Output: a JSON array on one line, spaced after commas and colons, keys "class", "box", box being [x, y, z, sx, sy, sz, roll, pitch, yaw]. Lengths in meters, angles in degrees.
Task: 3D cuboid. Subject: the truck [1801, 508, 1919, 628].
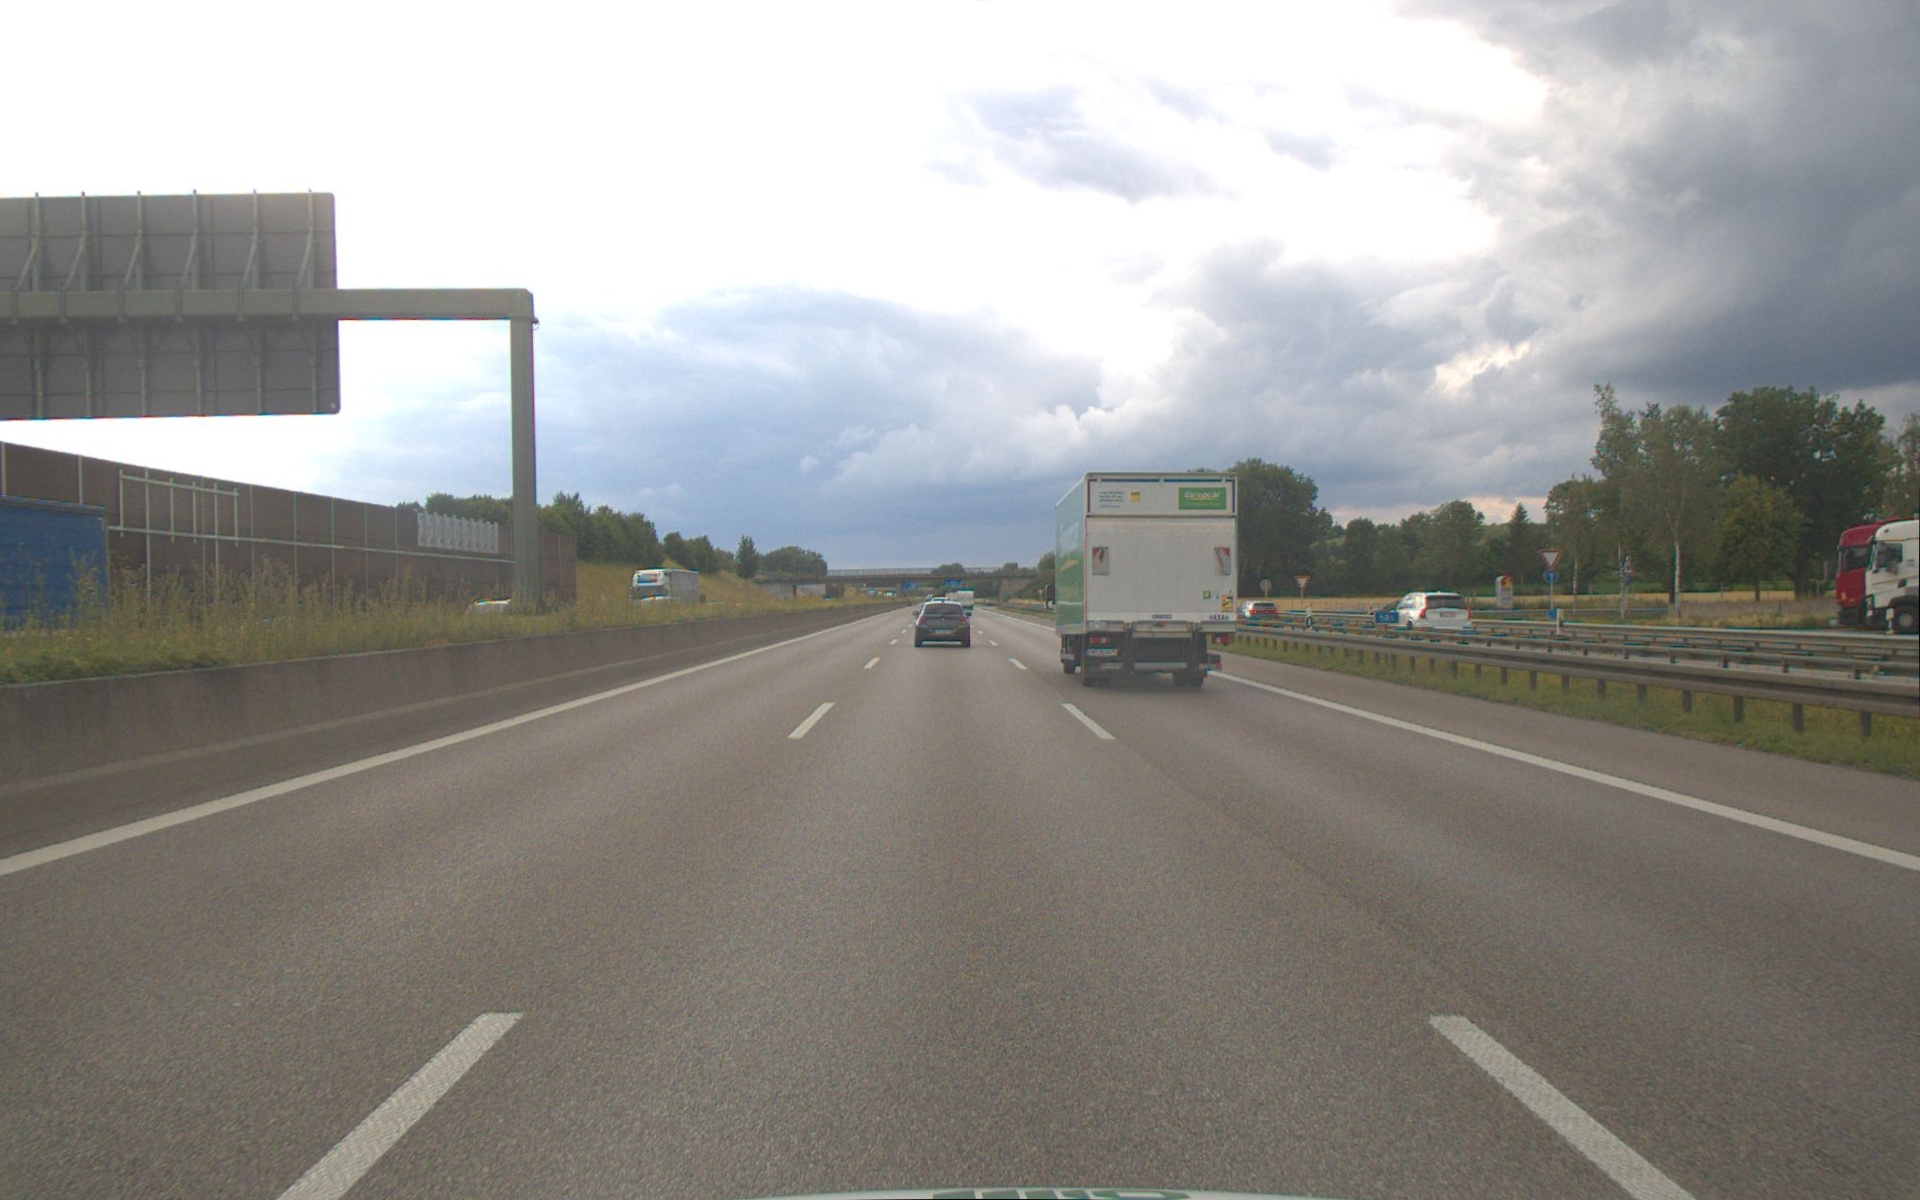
[{"class": "truck", "box": [34.601, -1.150, 61.306, 2.573, 4.328, 5.600, 1, -1, -44]}]

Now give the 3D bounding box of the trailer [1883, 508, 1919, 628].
[{"class": "trailer", "box": [38.358, -1.154, 57.325, 2.578, 4.299, 10.930, 1, -1, -44]}]

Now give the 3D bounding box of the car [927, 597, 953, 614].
[{"class": "car", "box": [-1.625, 0.445, 133.225, 1.953, 1.321, 3.999, -1, 0, -1]}]

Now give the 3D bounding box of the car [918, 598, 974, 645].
[{"class": "car", "box": [-0.443, 0.647, 52.539, 1.708, 1.413, 3.999, 0, 0, -1]}]

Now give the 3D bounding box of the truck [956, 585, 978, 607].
[{"class": "truck", "box": [0.936, -0.522, 231.474, 2.655, 3.016, 12.443, 1, 0, -1]}]

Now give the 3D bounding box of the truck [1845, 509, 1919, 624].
[{"class": "truck", "box": [34.093, -1.172, 56.506, 2.736, 3.917, 6.289, -1, 0, -44]}]

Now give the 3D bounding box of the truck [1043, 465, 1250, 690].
[{"class": "truck", "box": [3.210, -0.373, 30.913, 2.714, 3.566, 9.060, 0, 0, -1]}]

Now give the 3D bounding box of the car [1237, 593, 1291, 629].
[{"class": "car", "box": [15.698, 0.538, 85.611, 1.791, 1.787, 5.064, -1, 0, -1]}]

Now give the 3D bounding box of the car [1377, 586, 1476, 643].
[{"class": "car", "box": [15.612, 0.449, 55.602, 1.791, 1.787, 5.064, -1, 0, -1]}]

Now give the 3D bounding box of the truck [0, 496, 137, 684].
[{"class": "truck", "box": [-20.253, -0.170, 32.165, 3.193, 3.666, 10.932, -1, 0, -1]}]

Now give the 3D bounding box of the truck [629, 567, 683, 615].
[{"class": "truck", "box": [-21.338, -0.613, 116.349, 2.767, 3.283, 5.979, -1, 0, -1]}]
